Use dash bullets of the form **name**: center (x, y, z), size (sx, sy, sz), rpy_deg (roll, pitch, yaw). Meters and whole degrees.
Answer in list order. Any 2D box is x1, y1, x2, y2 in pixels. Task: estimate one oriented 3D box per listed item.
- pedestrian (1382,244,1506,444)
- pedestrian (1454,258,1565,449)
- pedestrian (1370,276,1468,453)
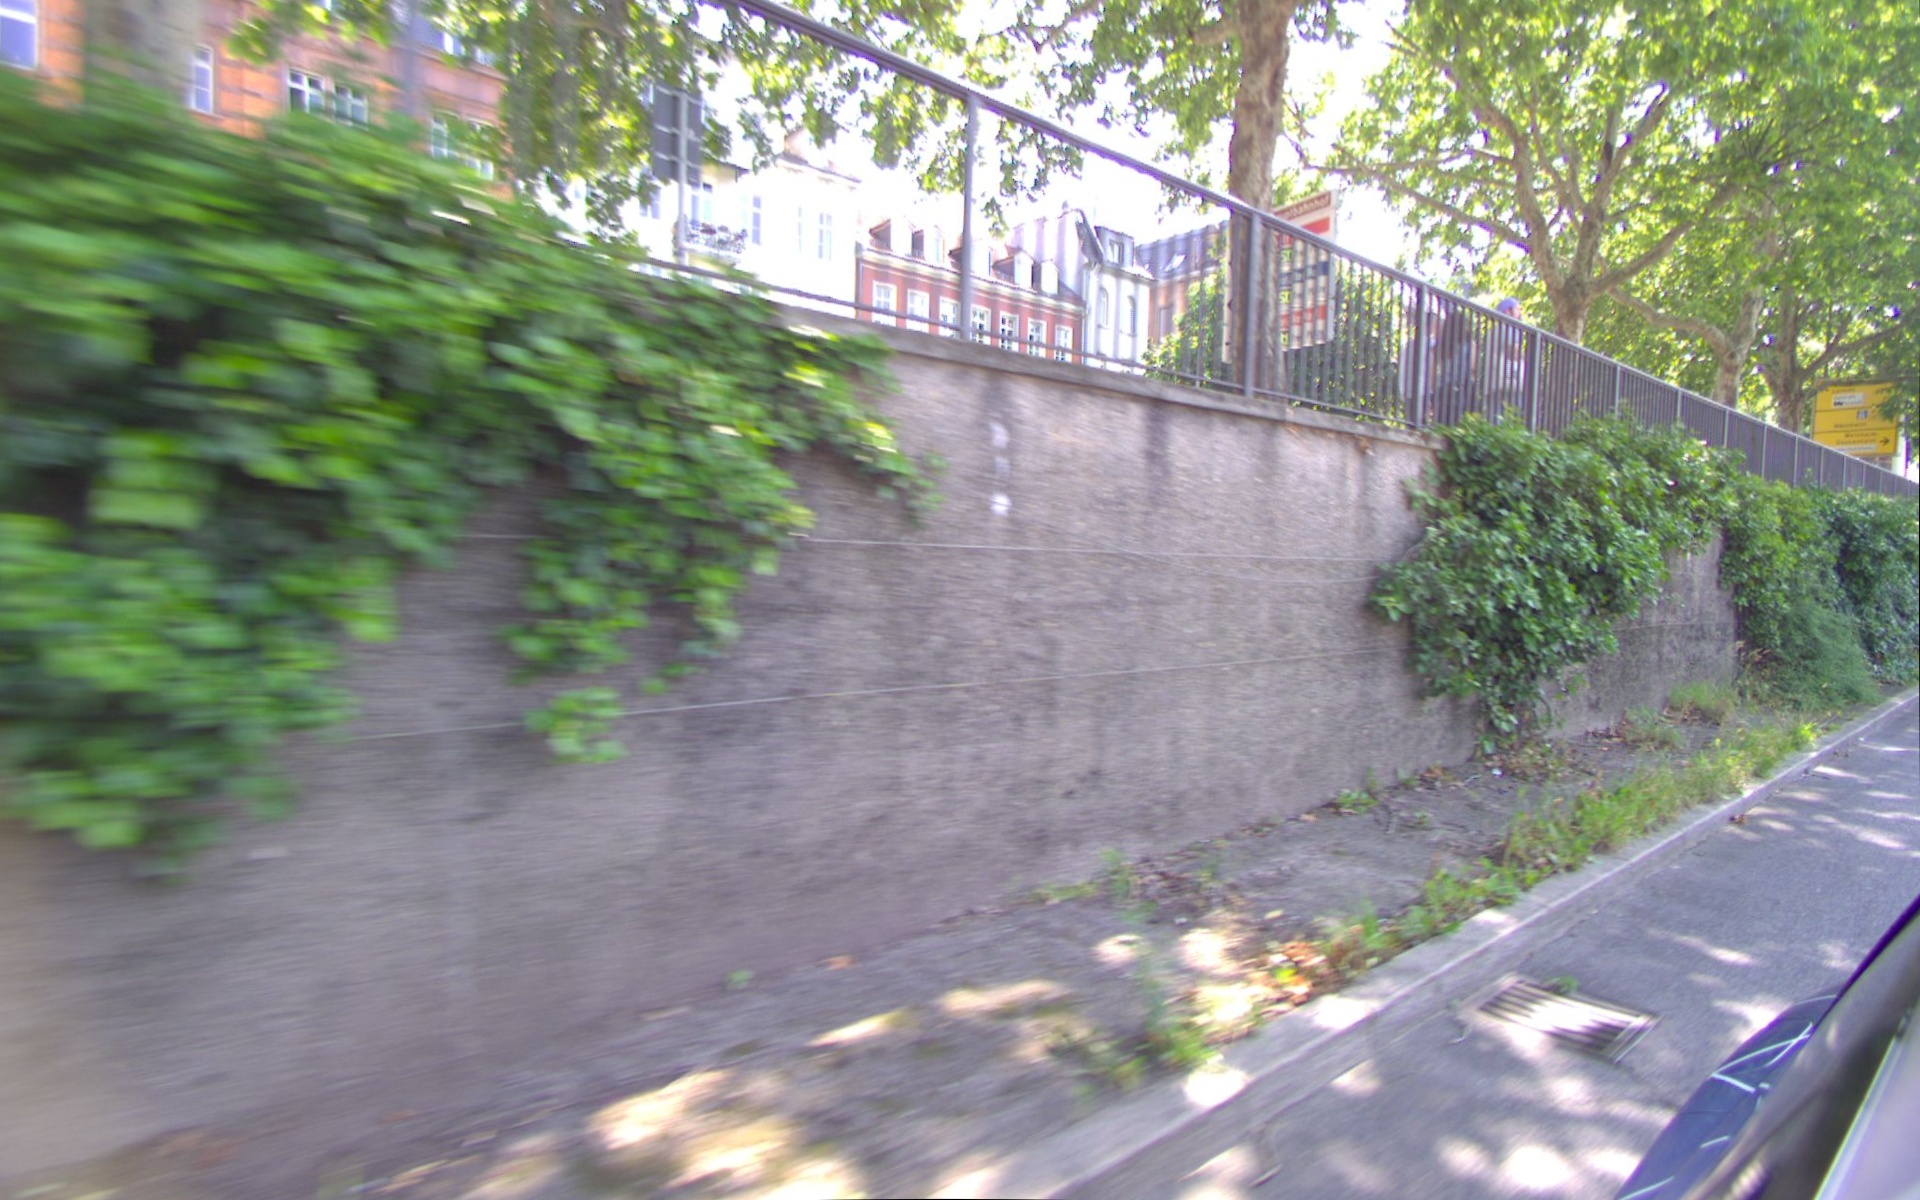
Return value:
- **pedestrian**: center (4.479, -2.311, 9.367), size (0.797, 1.610, 0.738), rpy_deg (-1, 3, -41)
- **pedestrian**: center (5.252, -2.308, 9.668), size (0.751, 1.610, 0.666), rpy_deg (-1, 3, -41)
- **pedestrian**: center (4.656, -2.347, 10.272), size (0.639, 1.610, 0.666), rpy_deg (-1, 3, -41)
